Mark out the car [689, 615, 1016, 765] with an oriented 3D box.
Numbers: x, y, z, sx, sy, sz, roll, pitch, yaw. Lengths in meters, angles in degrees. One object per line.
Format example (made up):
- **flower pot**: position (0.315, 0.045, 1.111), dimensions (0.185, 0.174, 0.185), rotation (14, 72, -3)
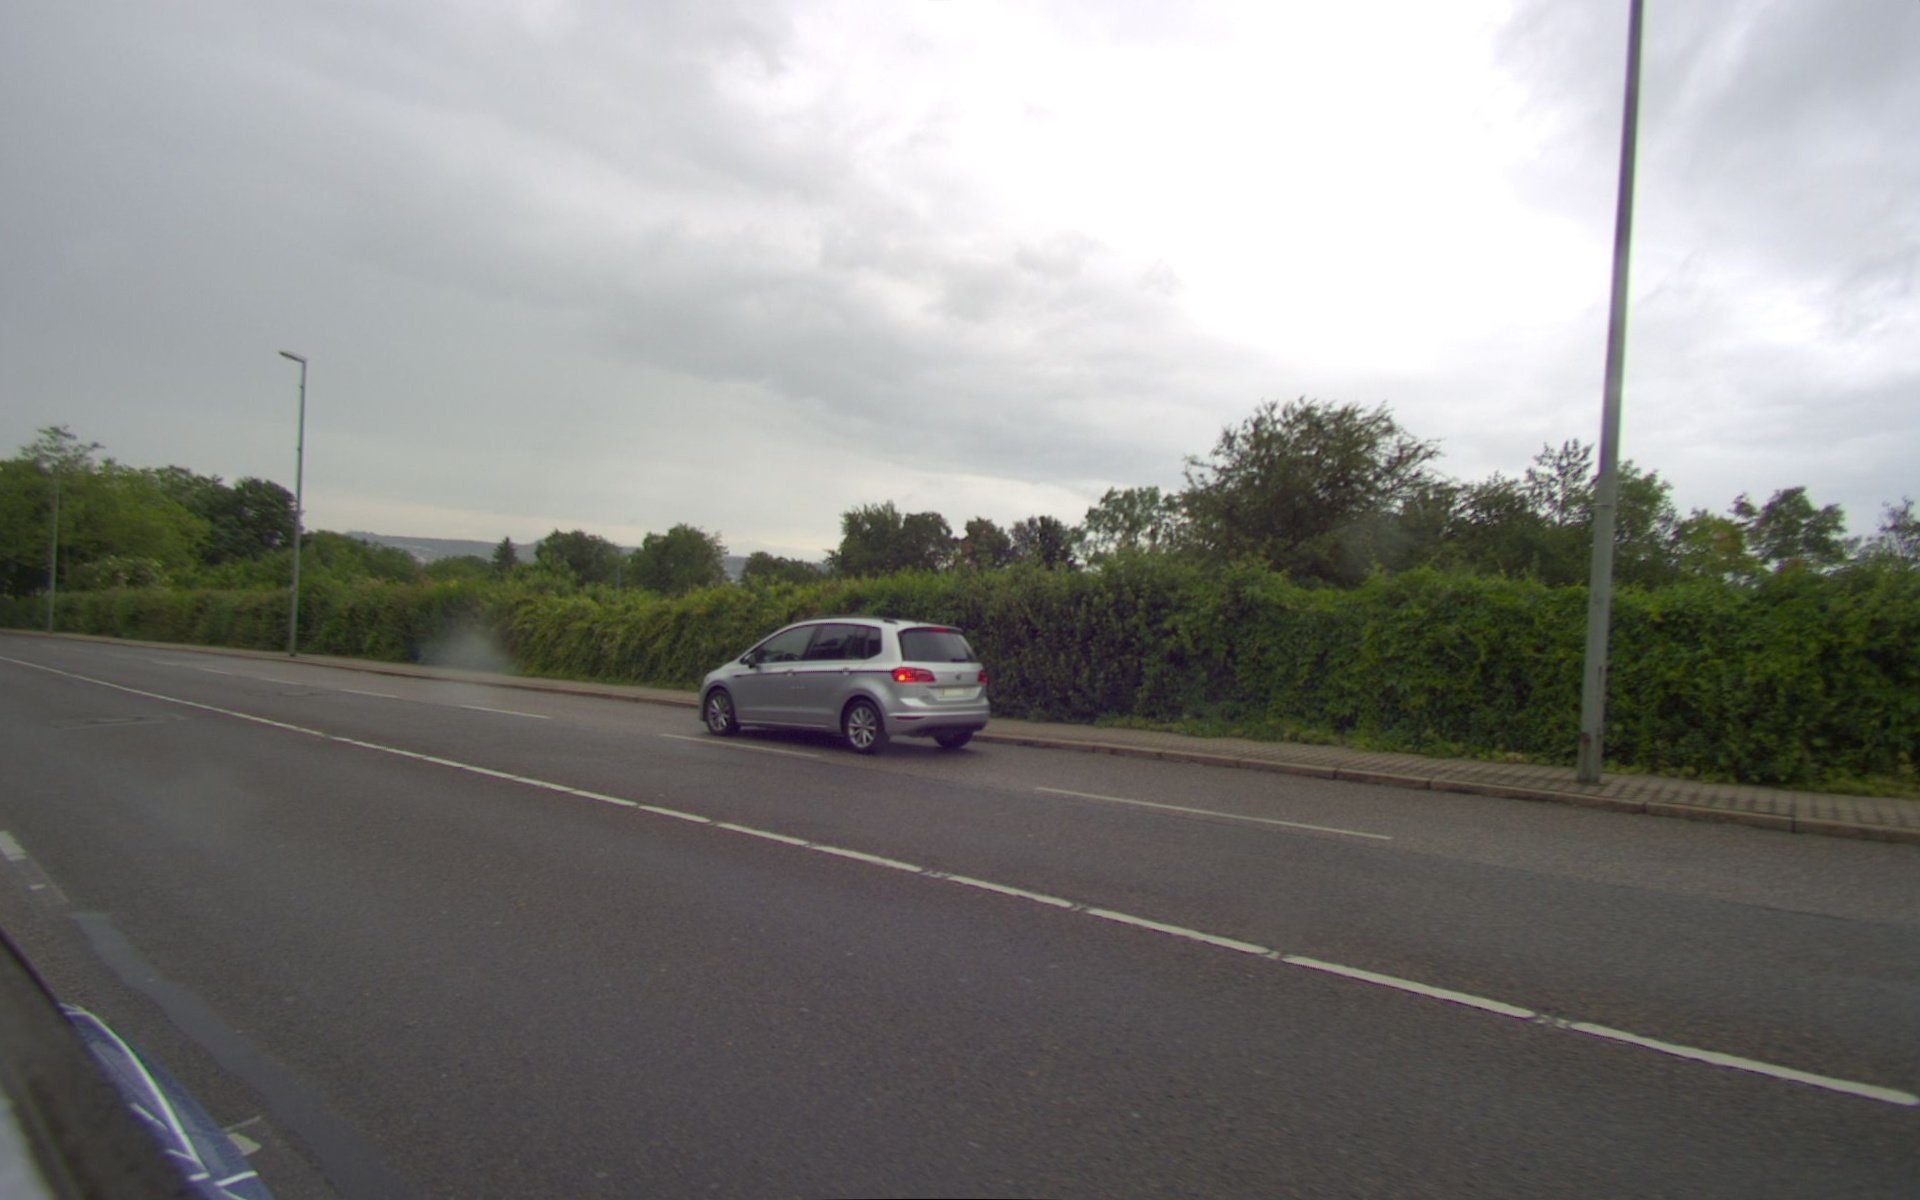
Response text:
- **car**: position (-1.433, 1.006, 12.590), dimensions (3.996, 1.580, 1.738), rotation (-1, -3, 40)
